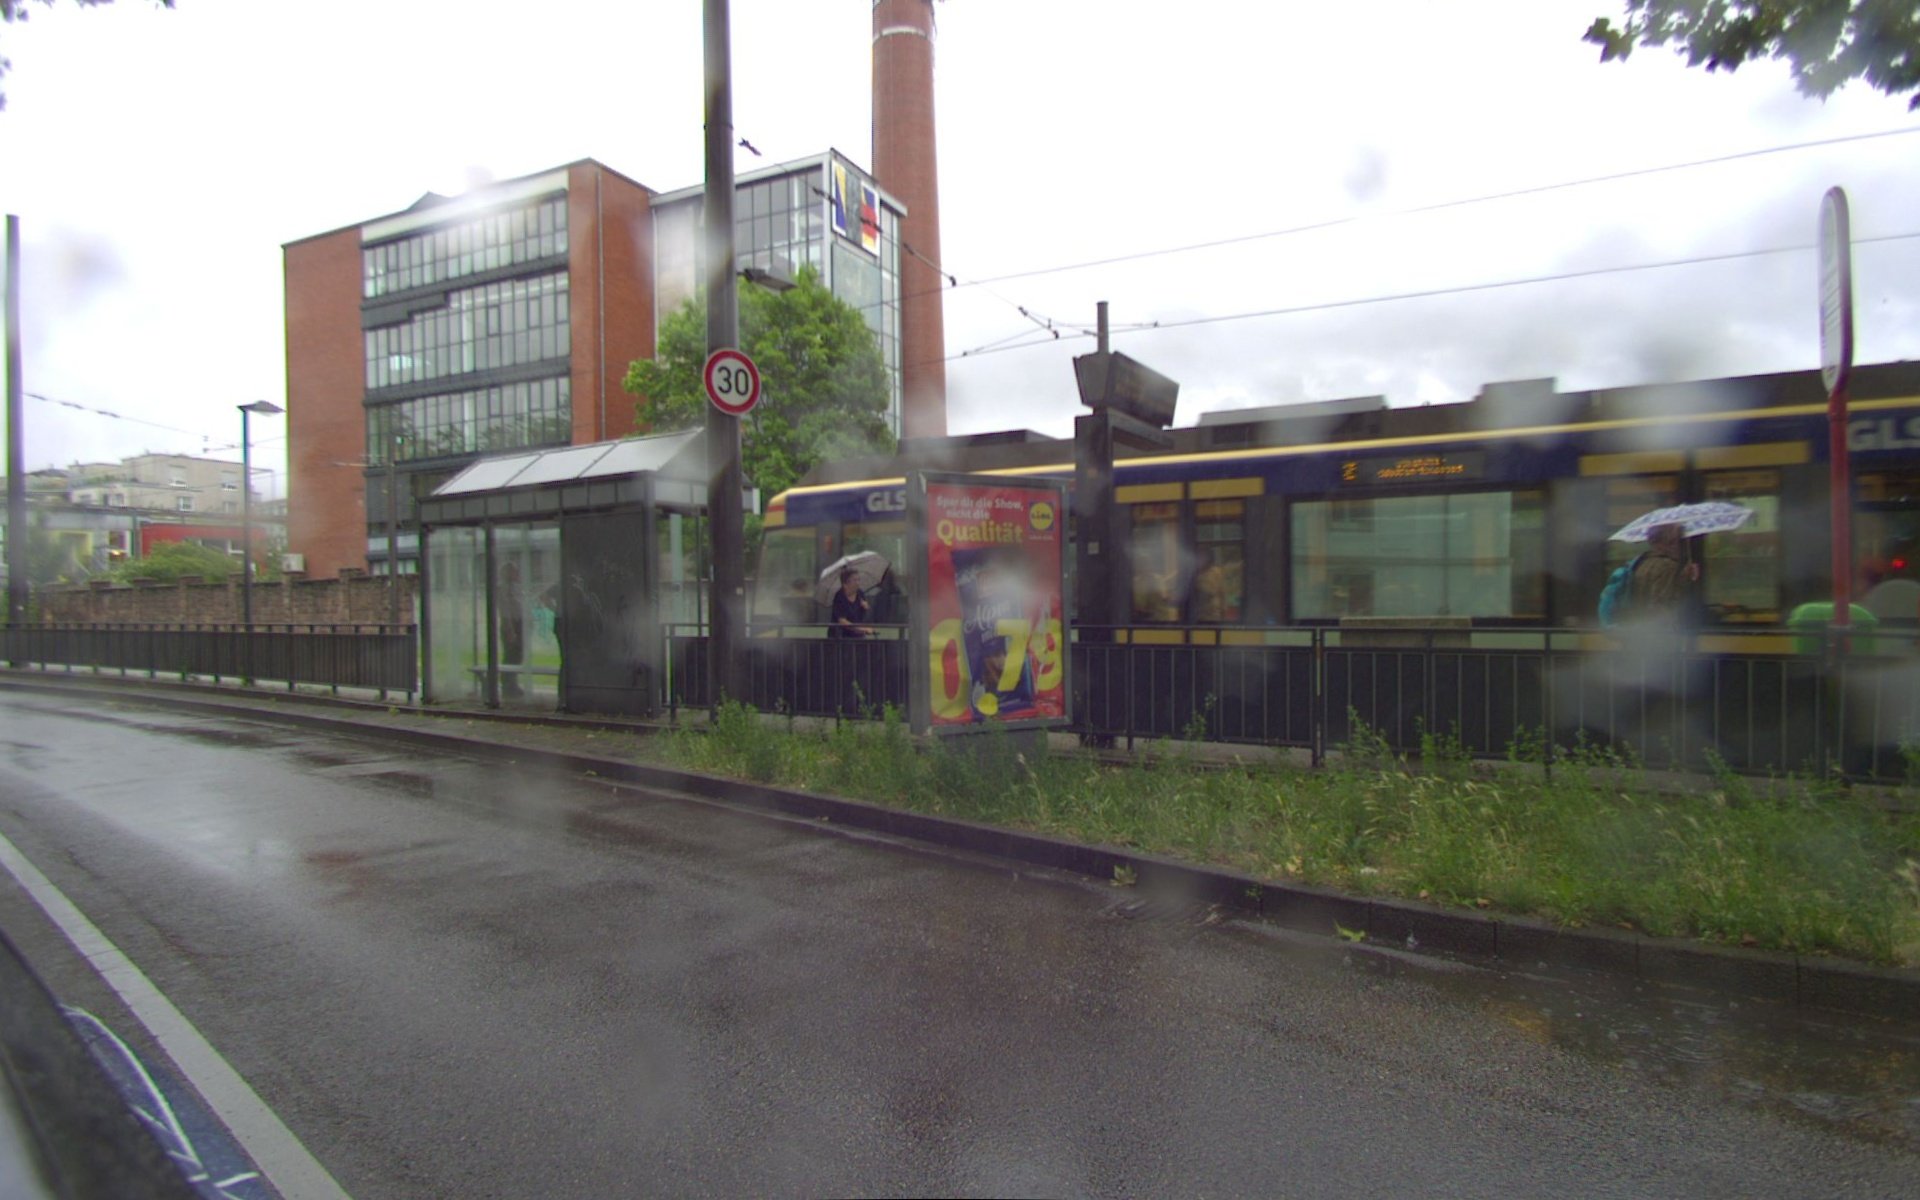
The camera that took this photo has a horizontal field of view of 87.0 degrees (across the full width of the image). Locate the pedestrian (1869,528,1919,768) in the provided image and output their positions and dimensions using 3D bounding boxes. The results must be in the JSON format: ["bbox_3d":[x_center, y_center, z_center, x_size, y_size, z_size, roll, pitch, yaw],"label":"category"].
[{"bbox_3d":[6.655,0.305,6.586,0.651,1.584,0.797,-2,-3,4],"label":"pedestrian"}]

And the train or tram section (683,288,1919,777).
[{"bbox_3d":[3.668,-0.428,10.940,15.309,3.572,2.841,-1,0,30],"label":"train or tram section"}]

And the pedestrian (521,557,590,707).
[{"bbox_3d":[-4.907,0.375,12.275,0.620,1.762,0.565,-1,0,-41],"label":"pedestrian"}]

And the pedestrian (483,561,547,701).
[{"bbox_3d":[-5.747,0.386,13.072,0.620,1.762,0.515,-1,0,-41],"label":"pedestrian"}]

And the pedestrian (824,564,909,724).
[{"bbox_3d":[-0.986,0.468,10.711,0.504,1.610,0.790,-4,-4,30],"label":"pedestrian"}]

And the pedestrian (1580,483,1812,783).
[{"bbox_3d":[4.936,0.241,6.907,1.072,1.840,0.975,-4,-4,30],"label":"pedestrian"}]
